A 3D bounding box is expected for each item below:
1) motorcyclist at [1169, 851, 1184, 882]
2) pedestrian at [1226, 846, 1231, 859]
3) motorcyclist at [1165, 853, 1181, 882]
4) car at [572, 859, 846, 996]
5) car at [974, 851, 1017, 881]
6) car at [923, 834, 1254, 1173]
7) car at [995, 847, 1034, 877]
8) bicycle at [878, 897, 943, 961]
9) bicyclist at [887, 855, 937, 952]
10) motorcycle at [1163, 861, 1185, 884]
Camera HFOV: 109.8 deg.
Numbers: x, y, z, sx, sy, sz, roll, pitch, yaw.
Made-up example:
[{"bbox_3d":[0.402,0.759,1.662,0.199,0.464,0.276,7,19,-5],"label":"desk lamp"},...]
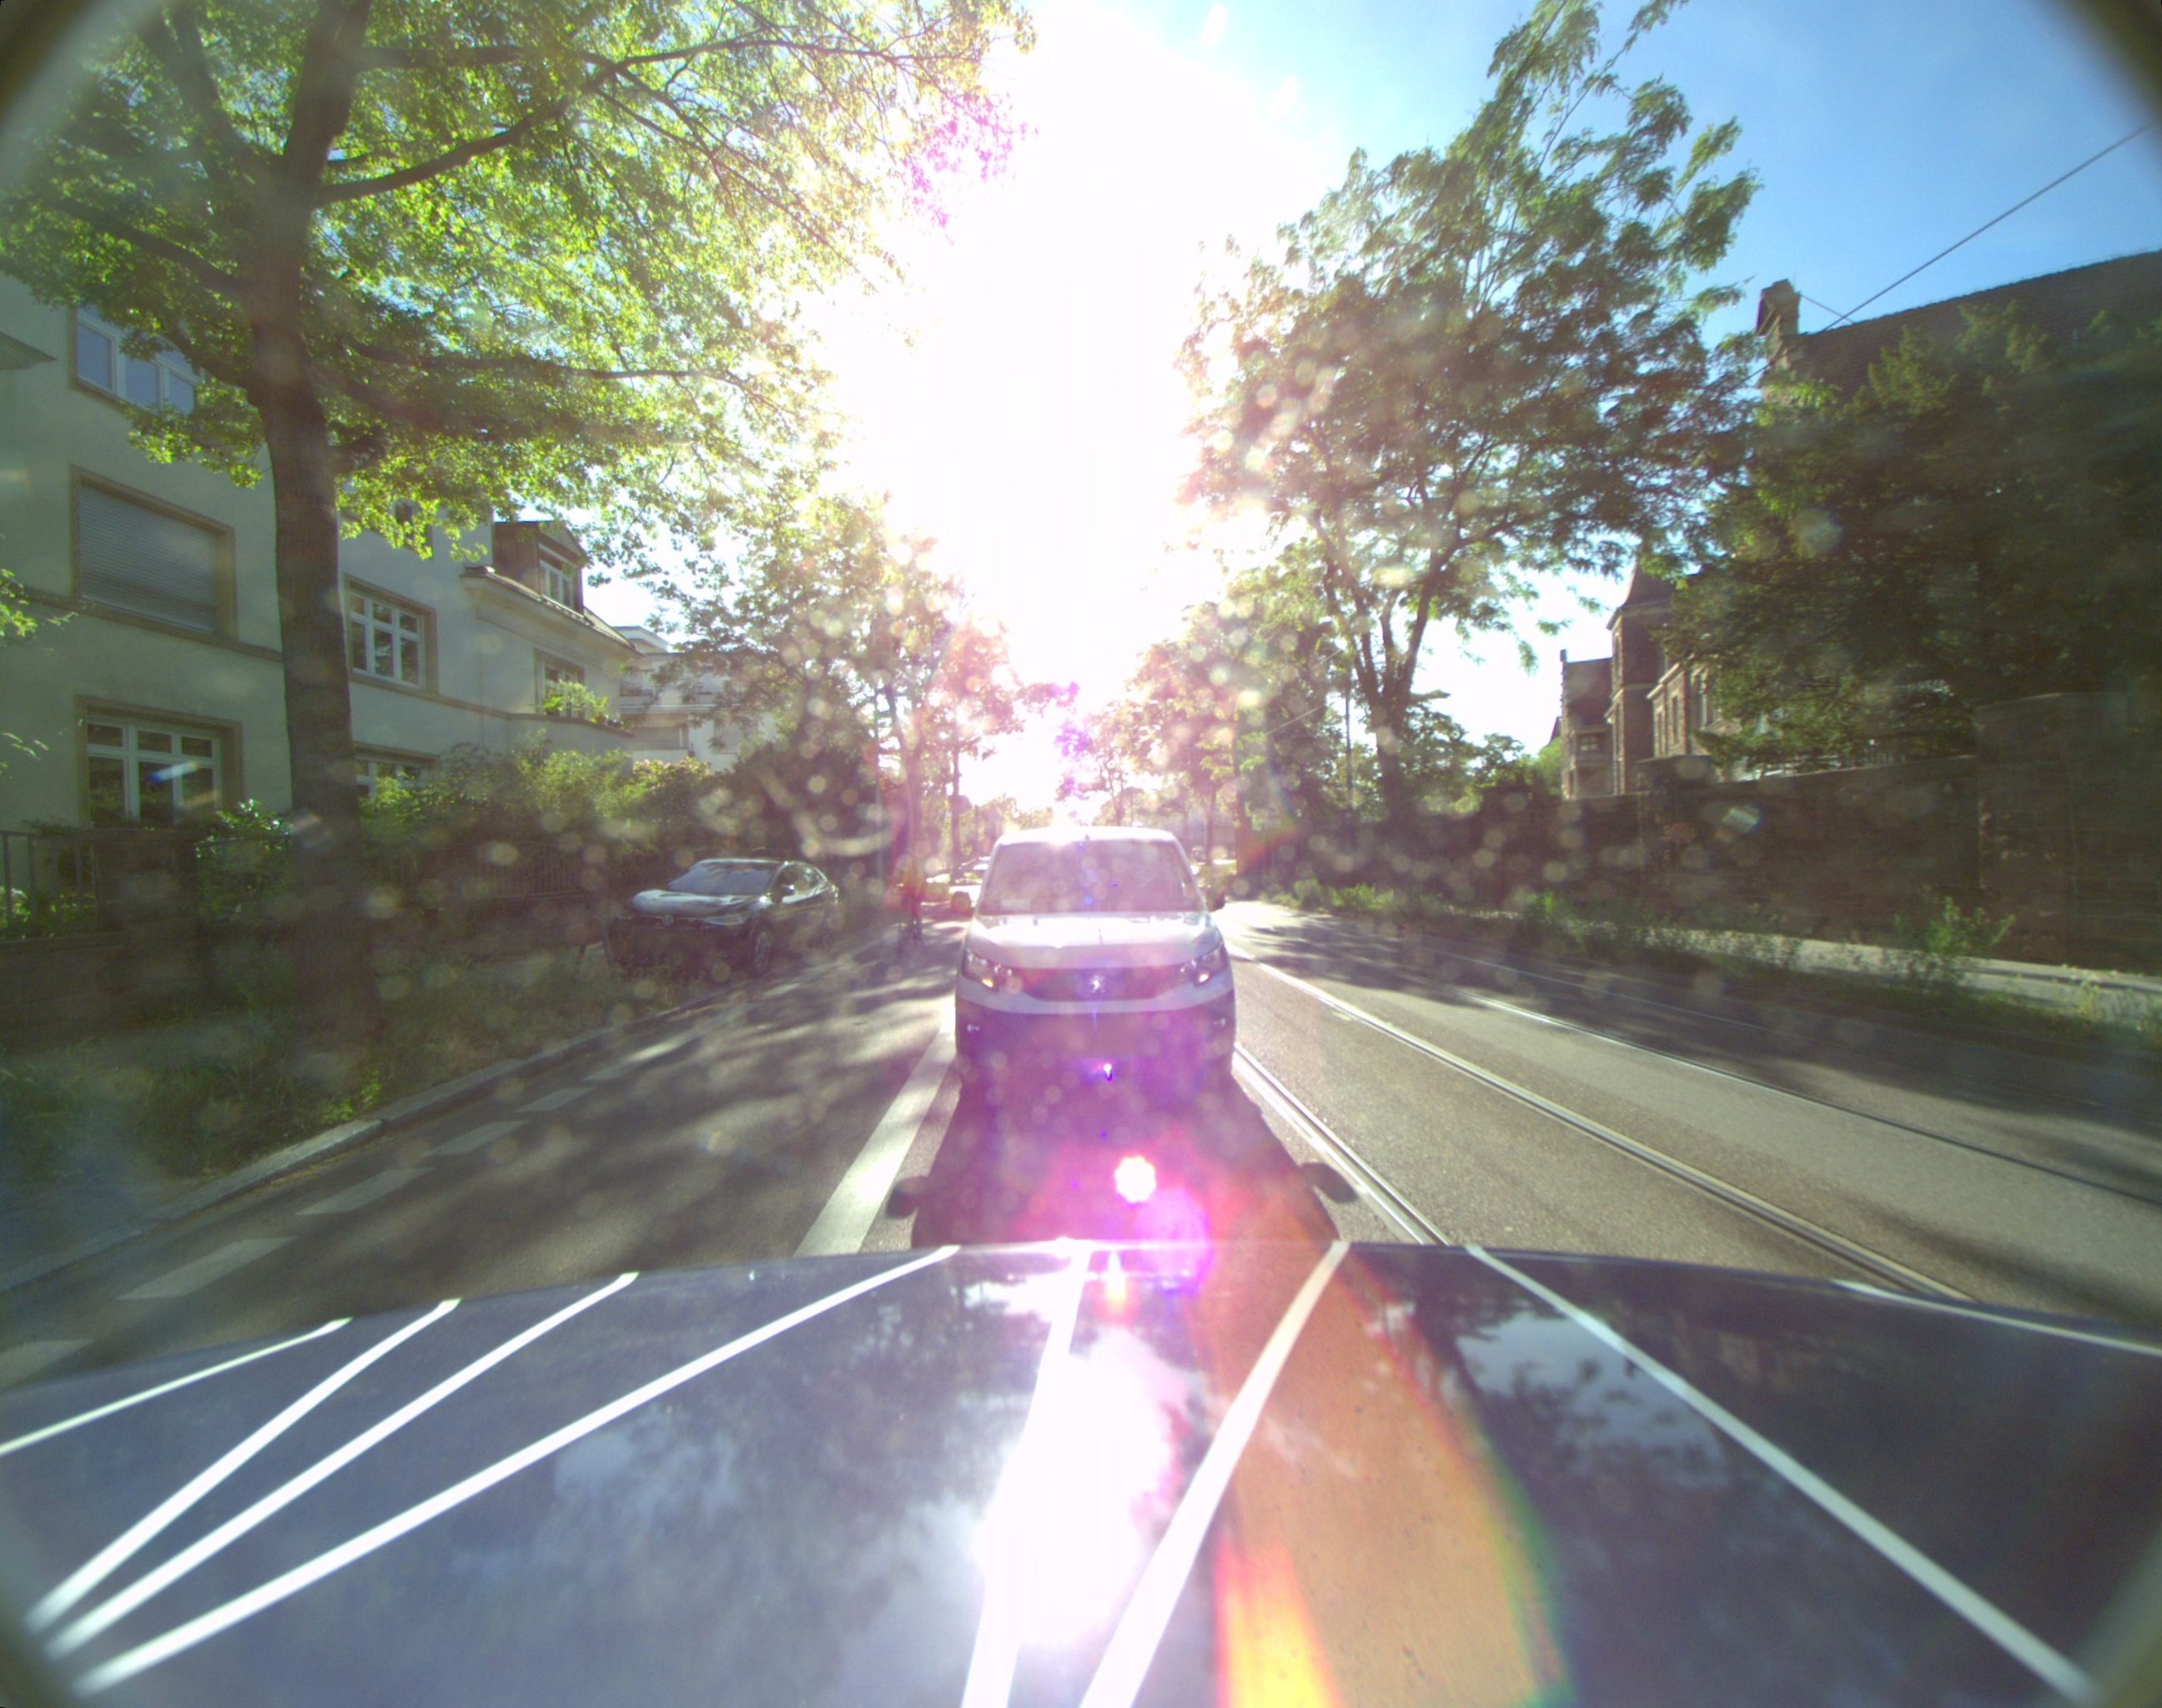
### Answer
[{"bbox_3d":[4.691,0.635,37.492,0.608,1.507,0.465,-2,1,-7],"label":"motorcyclist"},{"bbox_3d":[25.875,-0.242,133.122,0.767,2.353,0.927,-2,1,17],"label":"pedestrian"},{"bbox_3d":[4.598,0.671,38.048,0.686,1.432,0.446,-2,1,-6],"label":"motorcyclist"},{"bbox_3d":[-5.255,0.938,11.536,1.999,1.665,4.380,1,-1,0],"label":"car"},{"bbox_3d":[-5.048,0.665,45.210,1.823,1.630,4.001,-2,0,4],"label":"car"},{"bbox_3d":[0.033,0.804,6.111,1.768,1.812,3.999,-1,0,0],"label":"car"},{"bbox_3d":[-4.474,0.509,51.997,2.129,1.884,4.746,-2,0,1],"label":"car"},{"bbox_3d":[-2.994,1.295,13.529,0.677,0.920,1.885,-2,0,1],"label":"bicycle"},{"bbox_3d":[-2.998,0.861,13.526,0.677,1.648,0.745,-2,1,1],"label":"bicyclist"},{"bbox_3d":[4.640,0.932,37.987,0.611,1.087,1.855,-2,0,-7],"label":"motorcycle"}]
